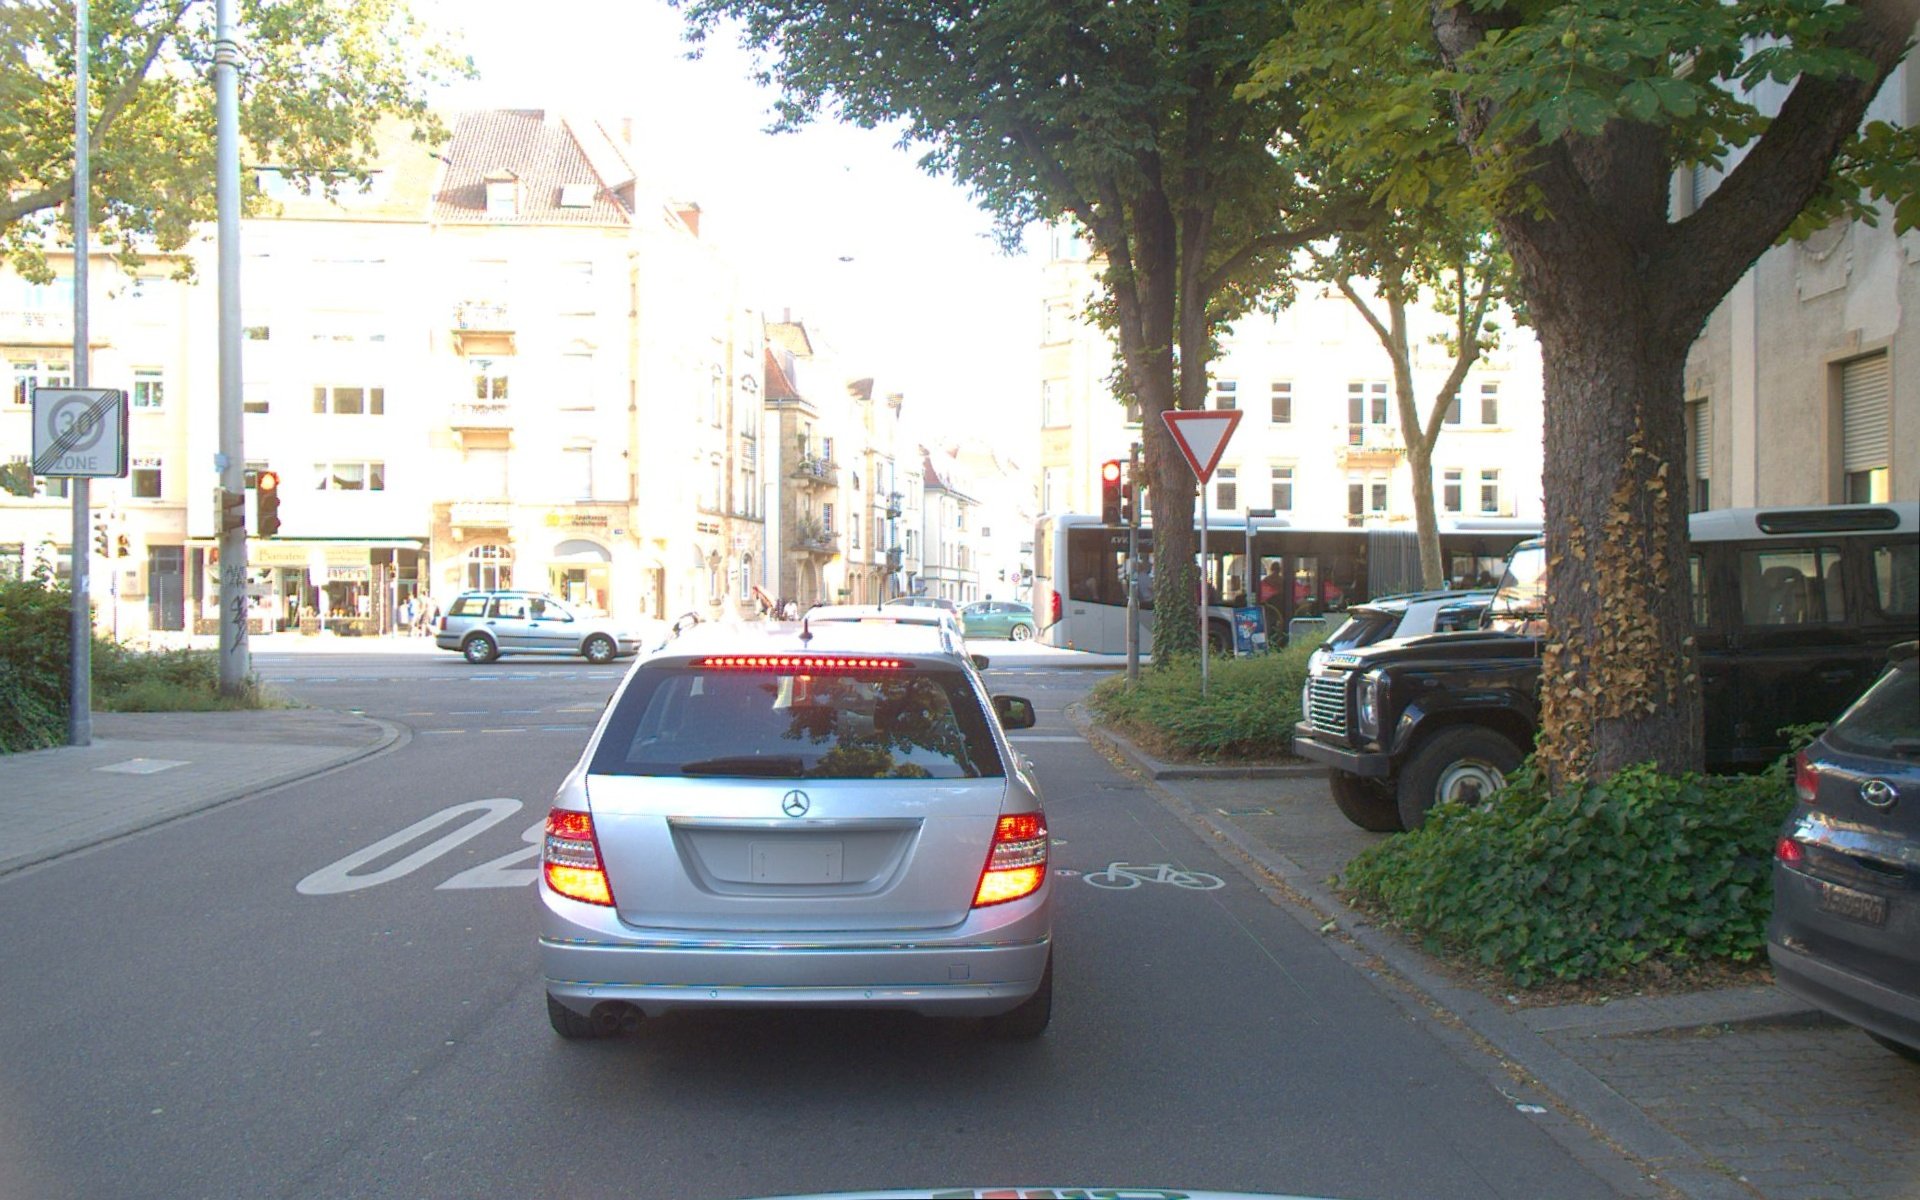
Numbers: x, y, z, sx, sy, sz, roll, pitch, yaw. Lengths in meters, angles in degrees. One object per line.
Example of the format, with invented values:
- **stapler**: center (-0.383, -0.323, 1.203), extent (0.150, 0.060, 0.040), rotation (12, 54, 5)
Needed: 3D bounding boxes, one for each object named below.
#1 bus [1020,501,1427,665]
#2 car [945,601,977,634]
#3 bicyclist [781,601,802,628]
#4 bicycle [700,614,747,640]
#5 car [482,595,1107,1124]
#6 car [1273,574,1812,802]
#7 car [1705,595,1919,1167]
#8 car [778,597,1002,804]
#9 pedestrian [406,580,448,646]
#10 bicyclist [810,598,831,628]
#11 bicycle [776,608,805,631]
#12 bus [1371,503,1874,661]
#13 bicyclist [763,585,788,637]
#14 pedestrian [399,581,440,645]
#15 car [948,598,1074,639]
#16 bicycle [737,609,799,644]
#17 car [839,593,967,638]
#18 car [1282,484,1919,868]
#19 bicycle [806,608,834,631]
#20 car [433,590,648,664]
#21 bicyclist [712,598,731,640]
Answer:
- **bus**: center (5.474, -0.382, 34.983), extent (8.024, 3.257, 2.906), rotation (-1, 0, -9)
- **car**: center (0.102, 1.251, 117.326), extent (1.749, 2.242, 4.003), rotation (0, 1, 7)
- **bicyclist**: center (-7.476, 0.627, 73.333), extent (0.754, 1.177, 0.753), rotation (1, 0, 10)
- **bicycle**: center (-8.251, 0.930, 57.689), extent (1.586, 0.892, 0.636), rotation (0, 0, -6)
- **car**: center (-0.550, 0.733, 6.936), extent (1.741, 1.477, 4.546), rotation (1, 0, -2)
- **car**: center (4.512, 0.649, 13.144), extent (3.650, 1.597, 1.707), rotation (-1, 0, -4)
- **car**: center (4.284, 0.694, 4.597), extent (3.650, 1.477, 1.707), rotation (-1, 0, -4)
- **car**: center (-0.590, 0.721, 14.025), extent (1.587, 1.472, 4.342), rotation (1, 0, -2)
- **pedestrian**: center (-20.504, 0.505, 63.677), extent (1.320, 2.507, 1.059), rotation (0, 0, -5)
- **bicyclist**: center (-6.196, 0.567, 73.363), extent (0.754, 1.312, 0.753), rotation (1, 0, 10)
- **bicycle**: center (-7.494, 0.852, 73.254), extent (0.754, 0.956, 1.942), rotation (1, 0, 10)
- **bus**: center (14.491, -0.431, 36.403), extent (10.258, 3.257, 2.906), rotation (-1, 0, -9)
- **bicyclist**: center (-6.755, 0.405, 60.594), extent (0.874, 1.892, 0.636), rotation (0, 0, -5)
- **pedestrian**: center (-21.137, 0.505, 64.716), extent (1.320, 2.507, 1.059), rotation (0, 0, -5)
- **car**: center (1.739, 0.627, 57.026), extent (4.140, 1.372, 1.662), rotation (0, 0, -7)
- **bicycle**: center (-7.021, 0.977, 60.569), extent (2.212, 1.268, 0.636), rotation (0, 0, -5)
- **car**: center (-1.848, 0.494, 52.789), extent (3.956, 1.384, 1.661), rotation (0, 0, -7)
- **car**: center (4.370, 0.403, 10.176), extent (4.377, 2.072, 1.699), rotation (-1, 0, -4)
- **bicycle**: center (-6.198, 0.866, 73.361), extent (0.754, 0.950, 1.942), rotation (1, 0, 10)
- **car**: center (-8.885, 0.544, 35.342), extent (4.263, 1.523, 1.659), rotation (0, 0, -7)
- **bicyclist**: center (-8.314, 0.669, 57.693), extent (0.631, 1.451, 0.636), rotation (0, 0, -6)
